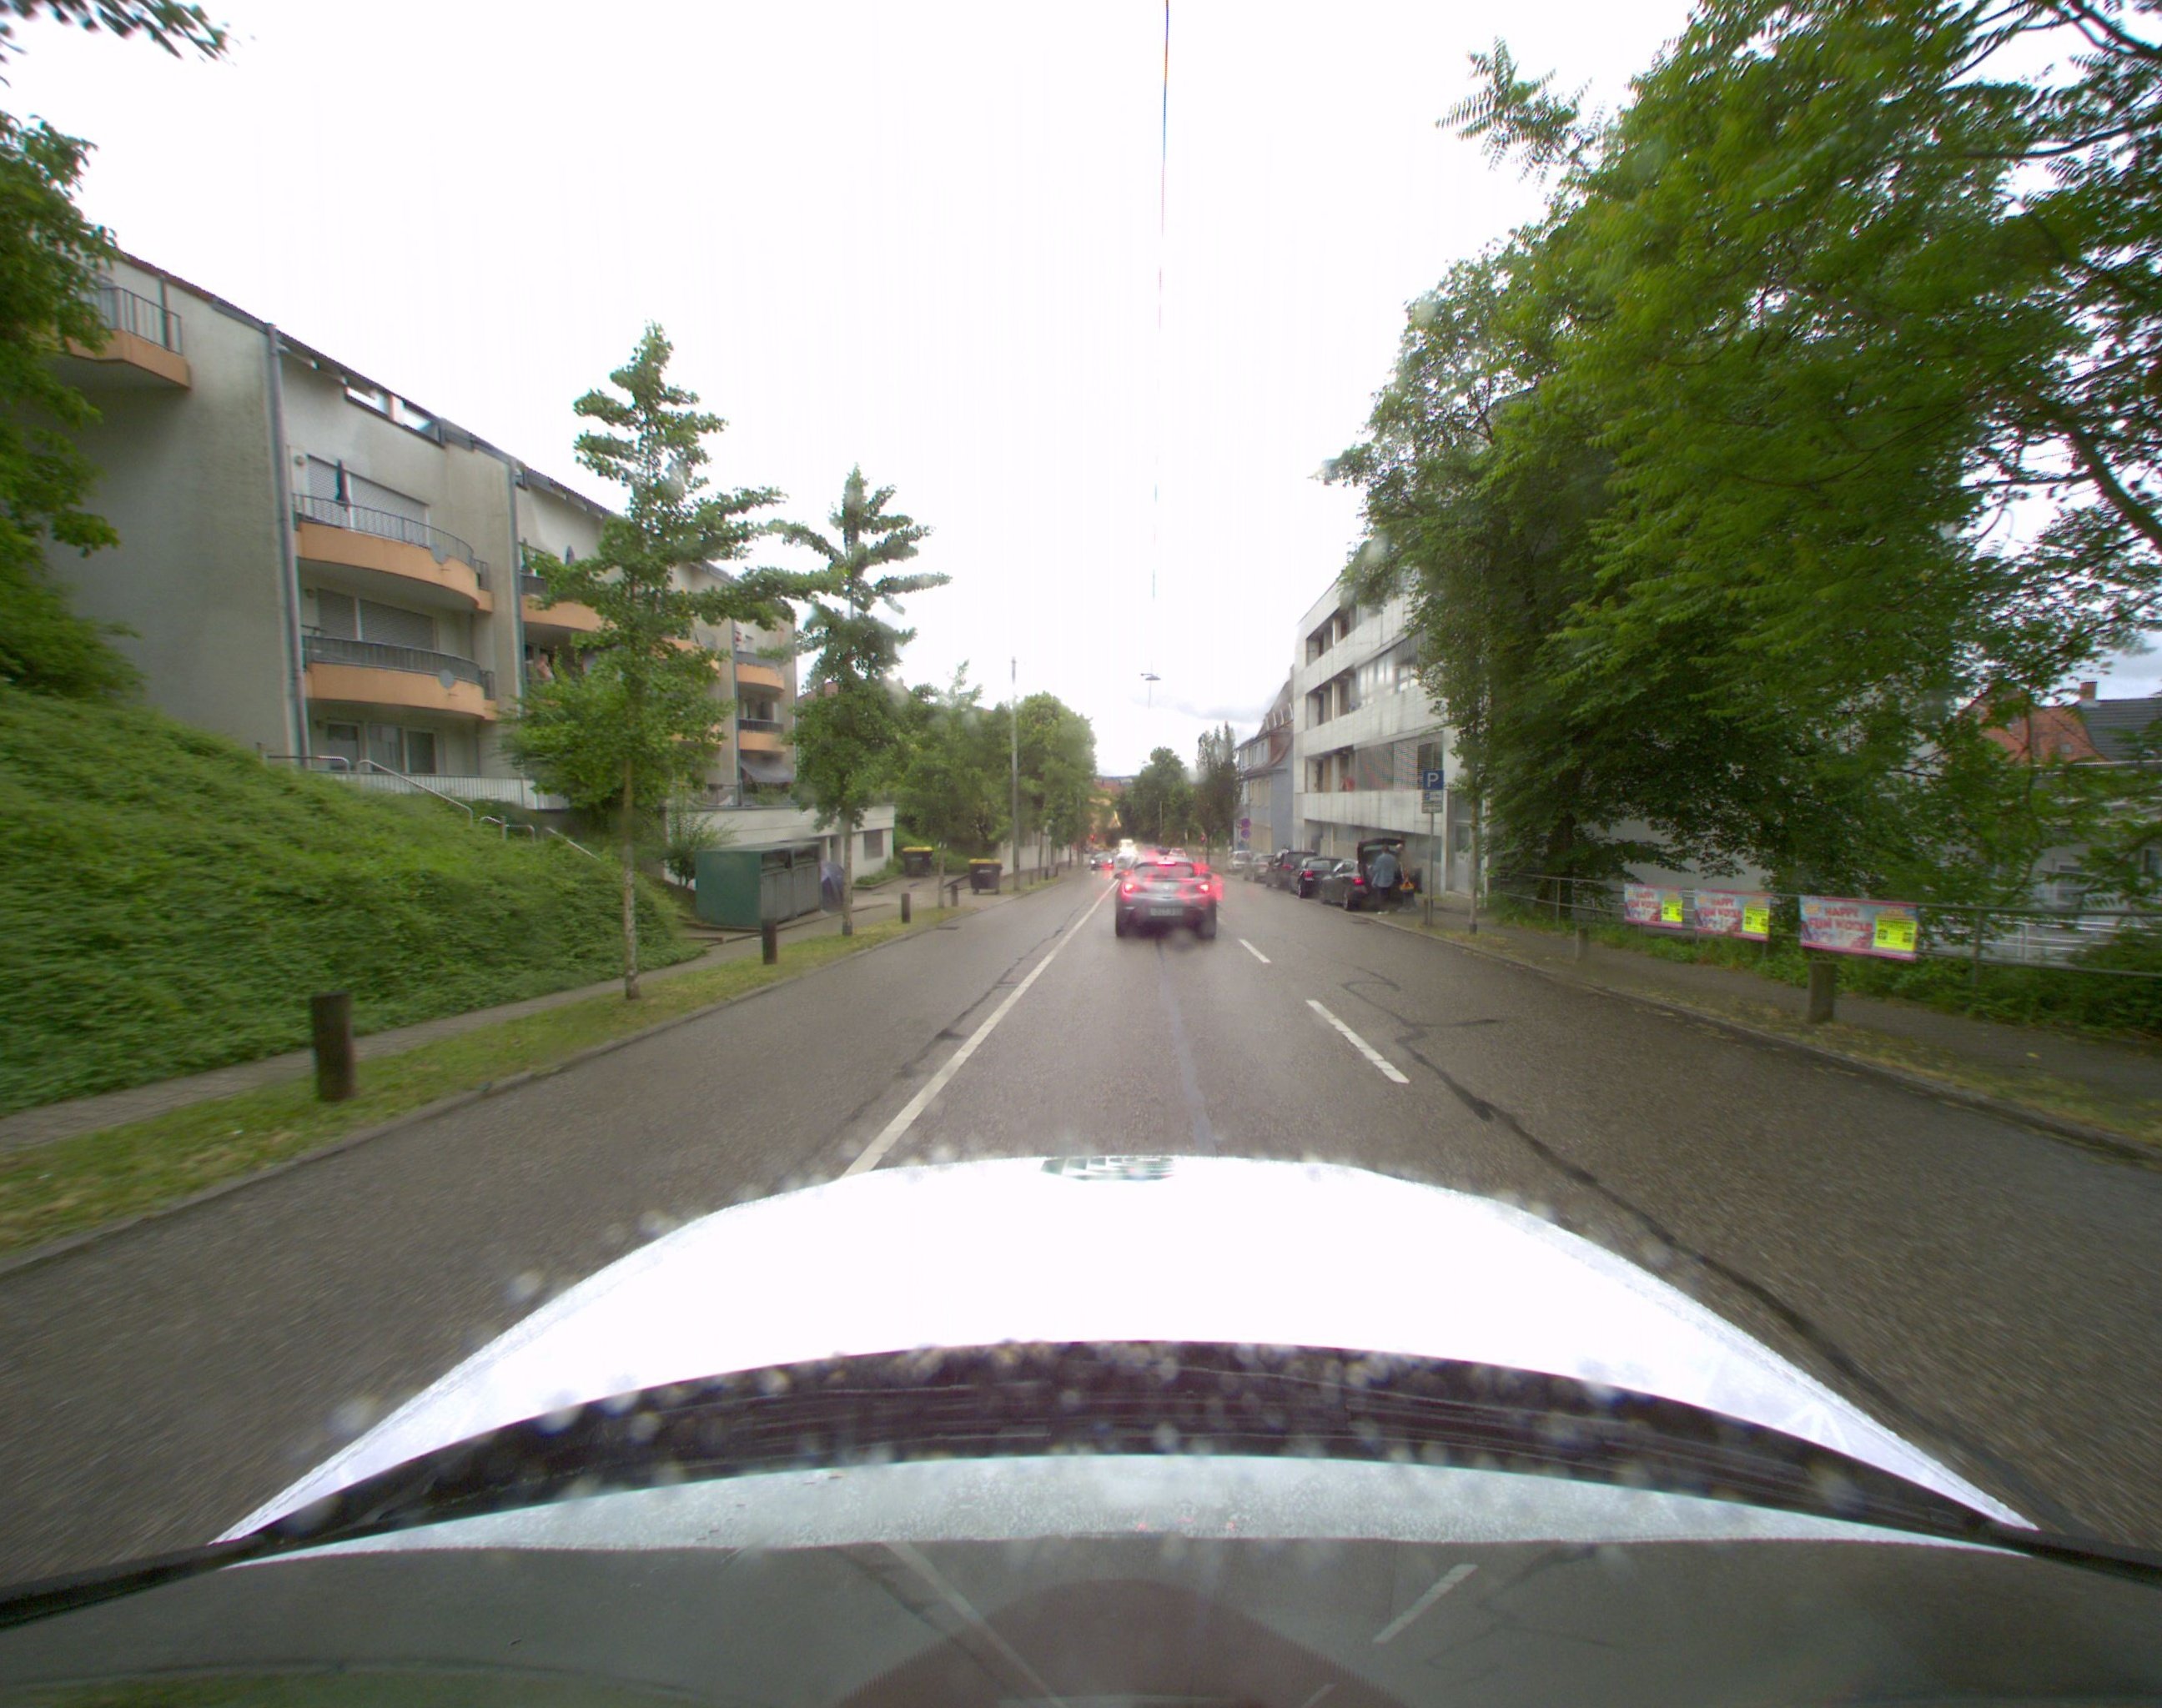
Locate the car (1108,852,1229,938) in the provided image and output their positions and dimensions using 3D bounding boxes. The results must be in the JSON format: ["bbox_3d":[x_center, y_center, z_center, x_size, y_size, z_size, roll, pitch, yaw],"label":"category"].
[{"bbox_3d":[1.573,0.702,15.935,1.939,1.432,3.884,-1,0,0],"label":"car"}]

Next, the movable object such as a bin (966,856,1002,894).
[{"bbox_3d":[-3.684,0.789,31.003,1.267,1.387,0.489,0,1,1],"label":"movable object such as a bin"}]

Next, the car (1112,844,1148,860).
[{"bbox_3d":[5.427,-0.250,89.792,1.805,1.479,3.888,-4,1,42],"label":"car"}]

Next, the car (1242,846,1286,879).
[{"bbox_3d":[9.261,0.391,41.485,1.576,1.493,4.297,-2,1,5],"label":"car"}]

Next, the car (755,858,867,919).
[{"bbox_3d":[-7.707,0.936,23.663,1.735,1.456,3.886,-4,0,2],"label":"car"}]

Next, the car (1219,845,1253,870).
[{"bbox_3d":[10.674,0.230,56.214,1.897,1.570,4.006,-2,1,5],"label":"car"}]

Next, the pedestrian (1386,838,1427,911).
[{"bbox_3d":[8.483,0.516,21.205,0.692,1.836,0.658,-4,1,-38],"label":"pedestrian"}]

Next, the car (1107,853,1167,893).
[{"bbox_3d":[1.947,0.650,29.352,1.792,1.323,3.998,0,0,-1],"label":"car"}]

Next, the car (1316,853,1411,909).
[{"bbox_3d":[8.049,0.709,23.520,1.497,1.435,4.003,-2,0,3],"label":"car"}]

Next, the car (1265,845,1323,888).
[{"bbox_3d":[8.797,0.462,33.952,1.677,1.570,4.006,-2,1,5],"label":"car"}]

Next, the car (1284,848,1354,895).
[{"bbox_3d":[8.462,0.562,29.246,1.673,1.464,4.006,-2,1,5],"label":"car"}]

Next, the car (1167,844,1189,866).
[{"bbox_3d":[9.927,0.033,83.445,1.984,2.036,4.741,2,2,4],"label":"car"}]

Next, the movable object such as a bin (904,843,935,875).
[{"bbox_3d":[-7.297,0.227,36.847,1.267,1.387,0.489,0,1,1],"label":"movable object such as a bin"}]

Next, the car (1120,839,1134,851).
[{"bbox_3d":[7.252,-1.407,128.783,1.984,1.784,4.006,2,2,5],"label":"car"}]

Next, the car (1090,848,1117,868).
[{"bbox_3d":[1.915,0.285,67.686,1.841,1.469,4.093,-4,0,5],"label":"car"}]

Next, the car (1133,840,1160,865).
[{"bbox_3d":[5.993,-0.171,75.004,2.323,2.036,4.741,2,2,4],"label":"car"}]

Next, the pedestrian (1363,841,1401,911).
[{"bbox_3d":[7.688,0.561,20.800,0.756,1.723,0.741,-3,1,25],"label":"pedestrian"}]

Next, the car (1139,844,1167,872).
[{"bbox_3d":[5.057,0.227,57.928,1.762,1.780,3.979,2,2,2],"label":"car"}]

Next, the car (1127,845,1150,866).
[{"bbox_3d":[4.685,0.117,66.859,1.747,1.651,4.003,2,1,2],"label":"car"}]

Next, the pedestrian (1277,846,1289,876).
[{"bbox_3d":[12.004,0.415,48.441,0.642,1.784,0.542,0,1,5],"label":"pedestrian"}]
